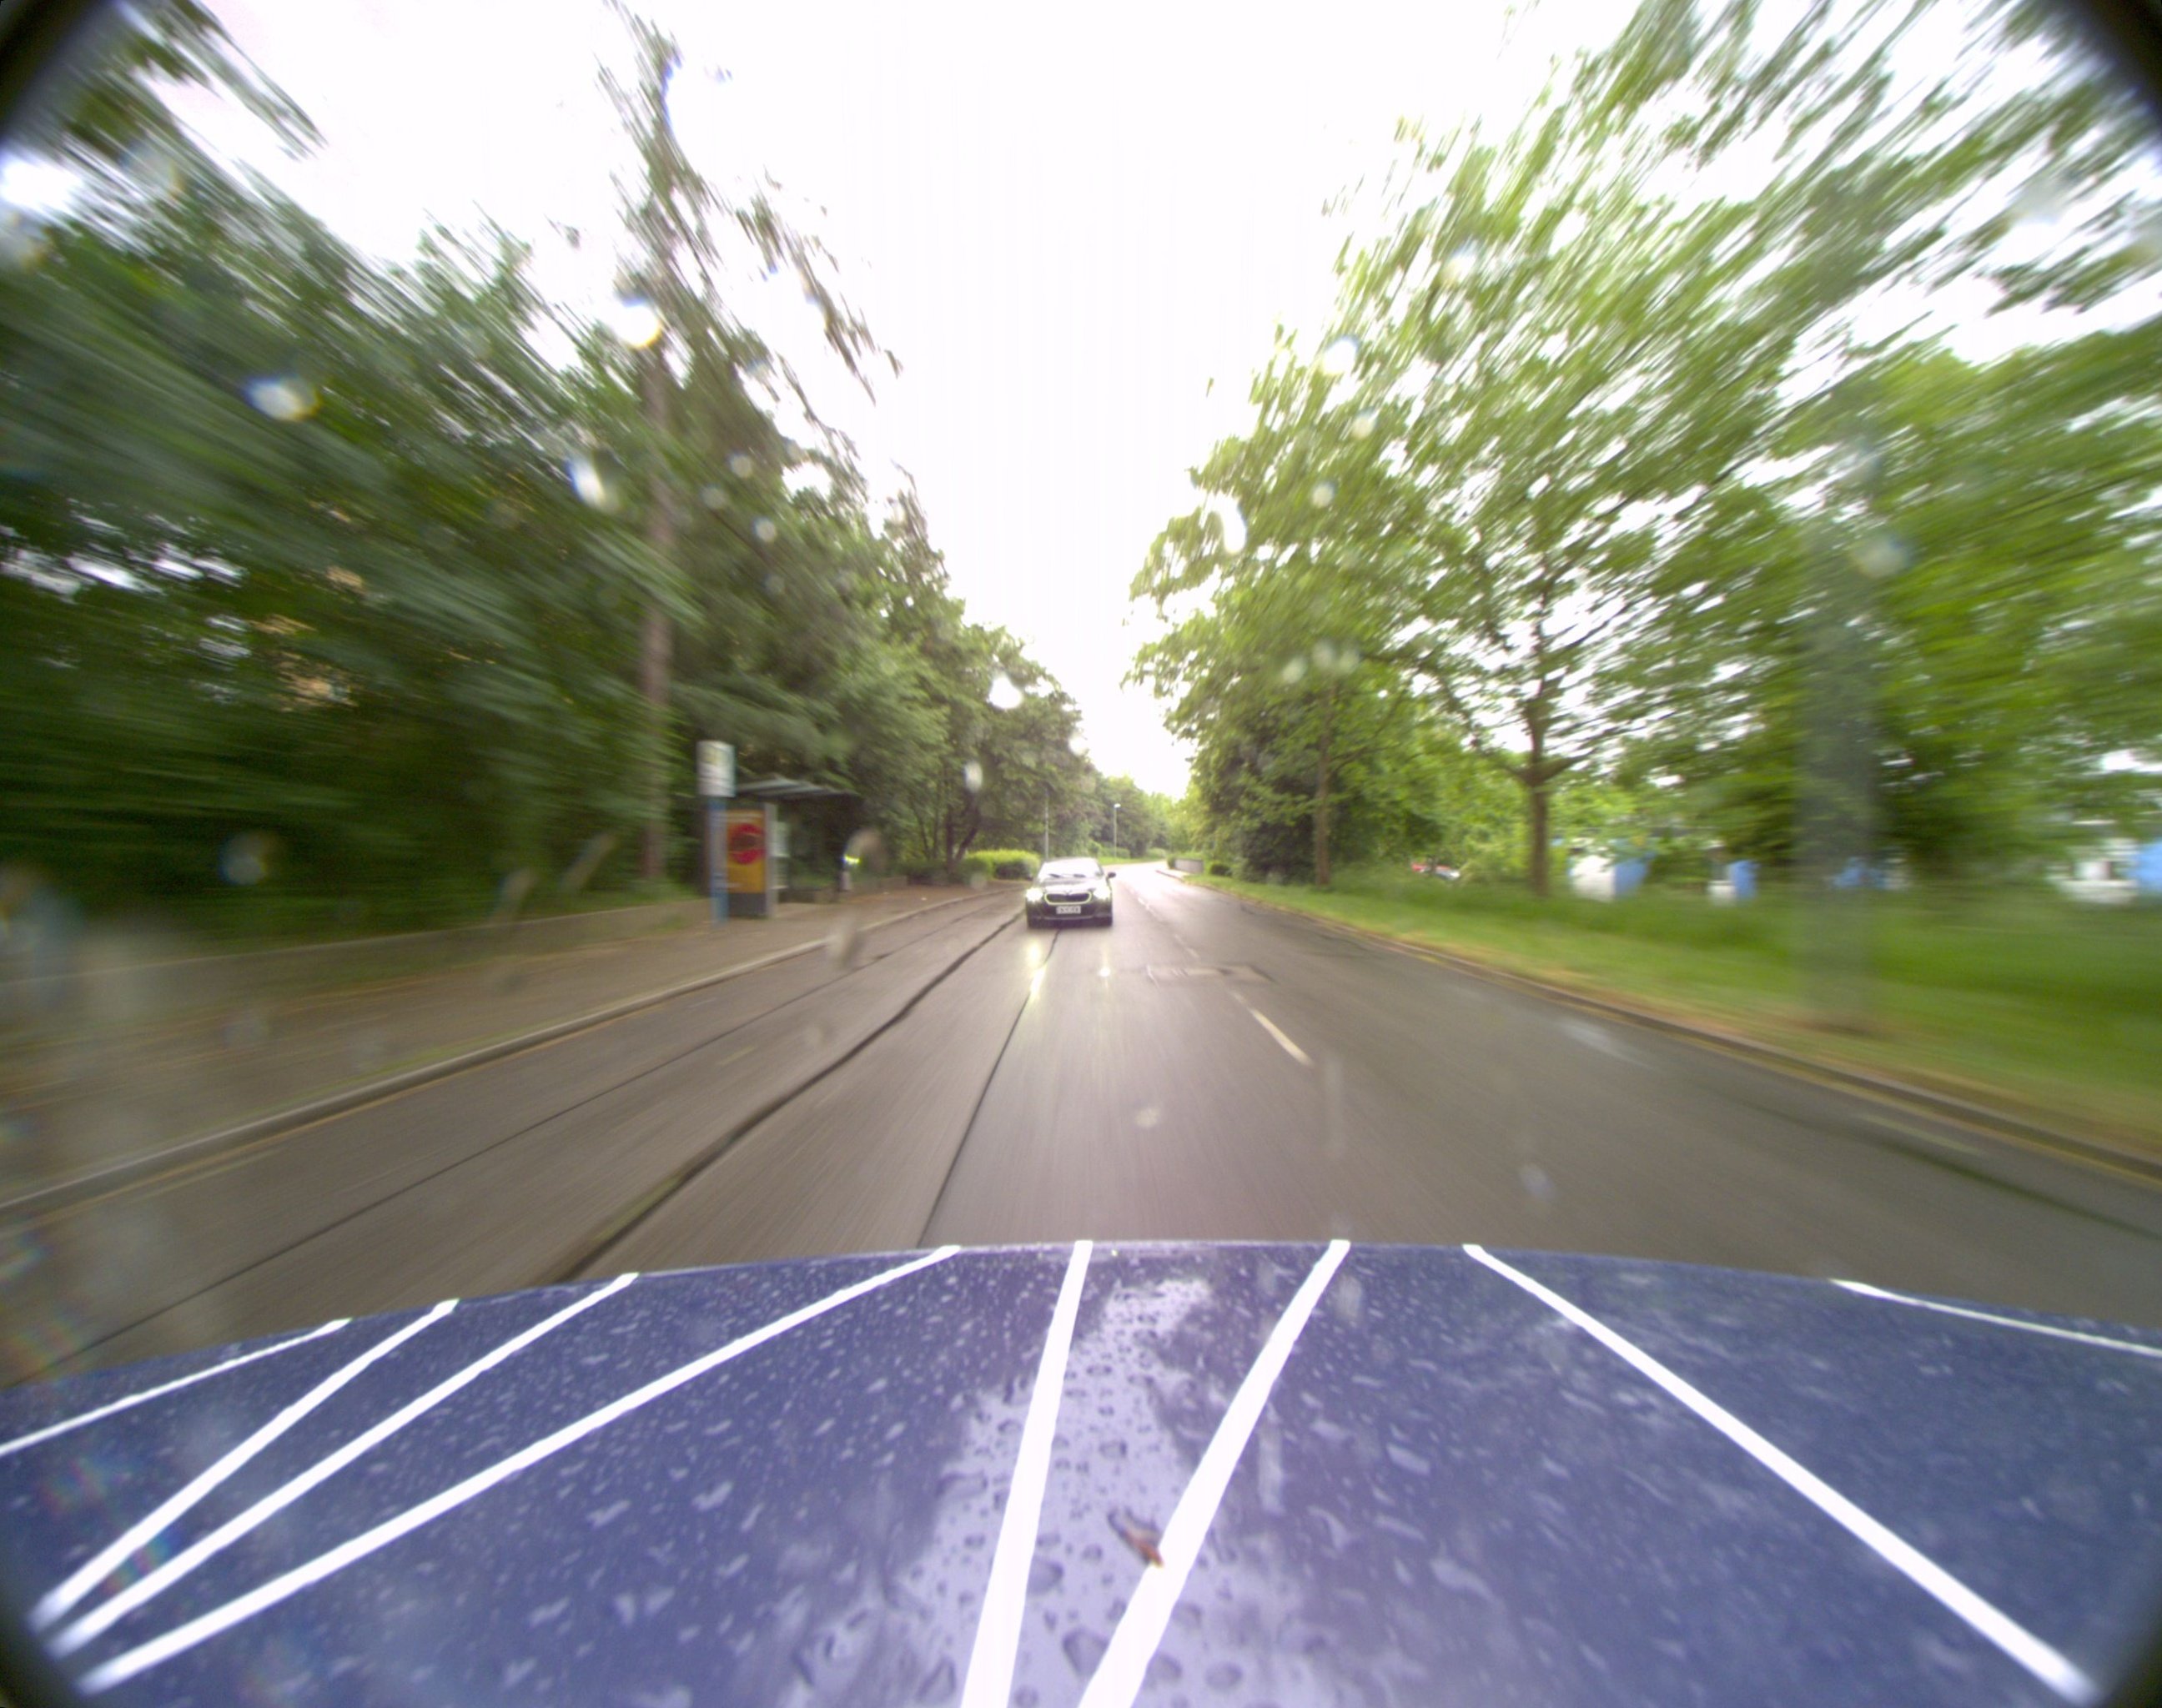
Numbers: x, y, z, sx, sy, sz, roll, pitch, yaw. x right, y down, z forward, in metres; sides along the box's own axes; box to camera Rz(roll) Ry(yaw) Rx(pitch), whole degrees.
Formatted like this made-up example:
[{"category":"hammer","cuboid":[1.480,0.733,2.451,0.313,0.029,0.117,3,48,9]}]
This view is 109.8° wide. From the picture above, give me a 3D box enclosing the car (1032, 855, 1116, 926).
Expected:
[{"category":"car","cuboid":[-0.108,0.823,19.464,1.832,1.499,4.498,-2,1,1]}]
